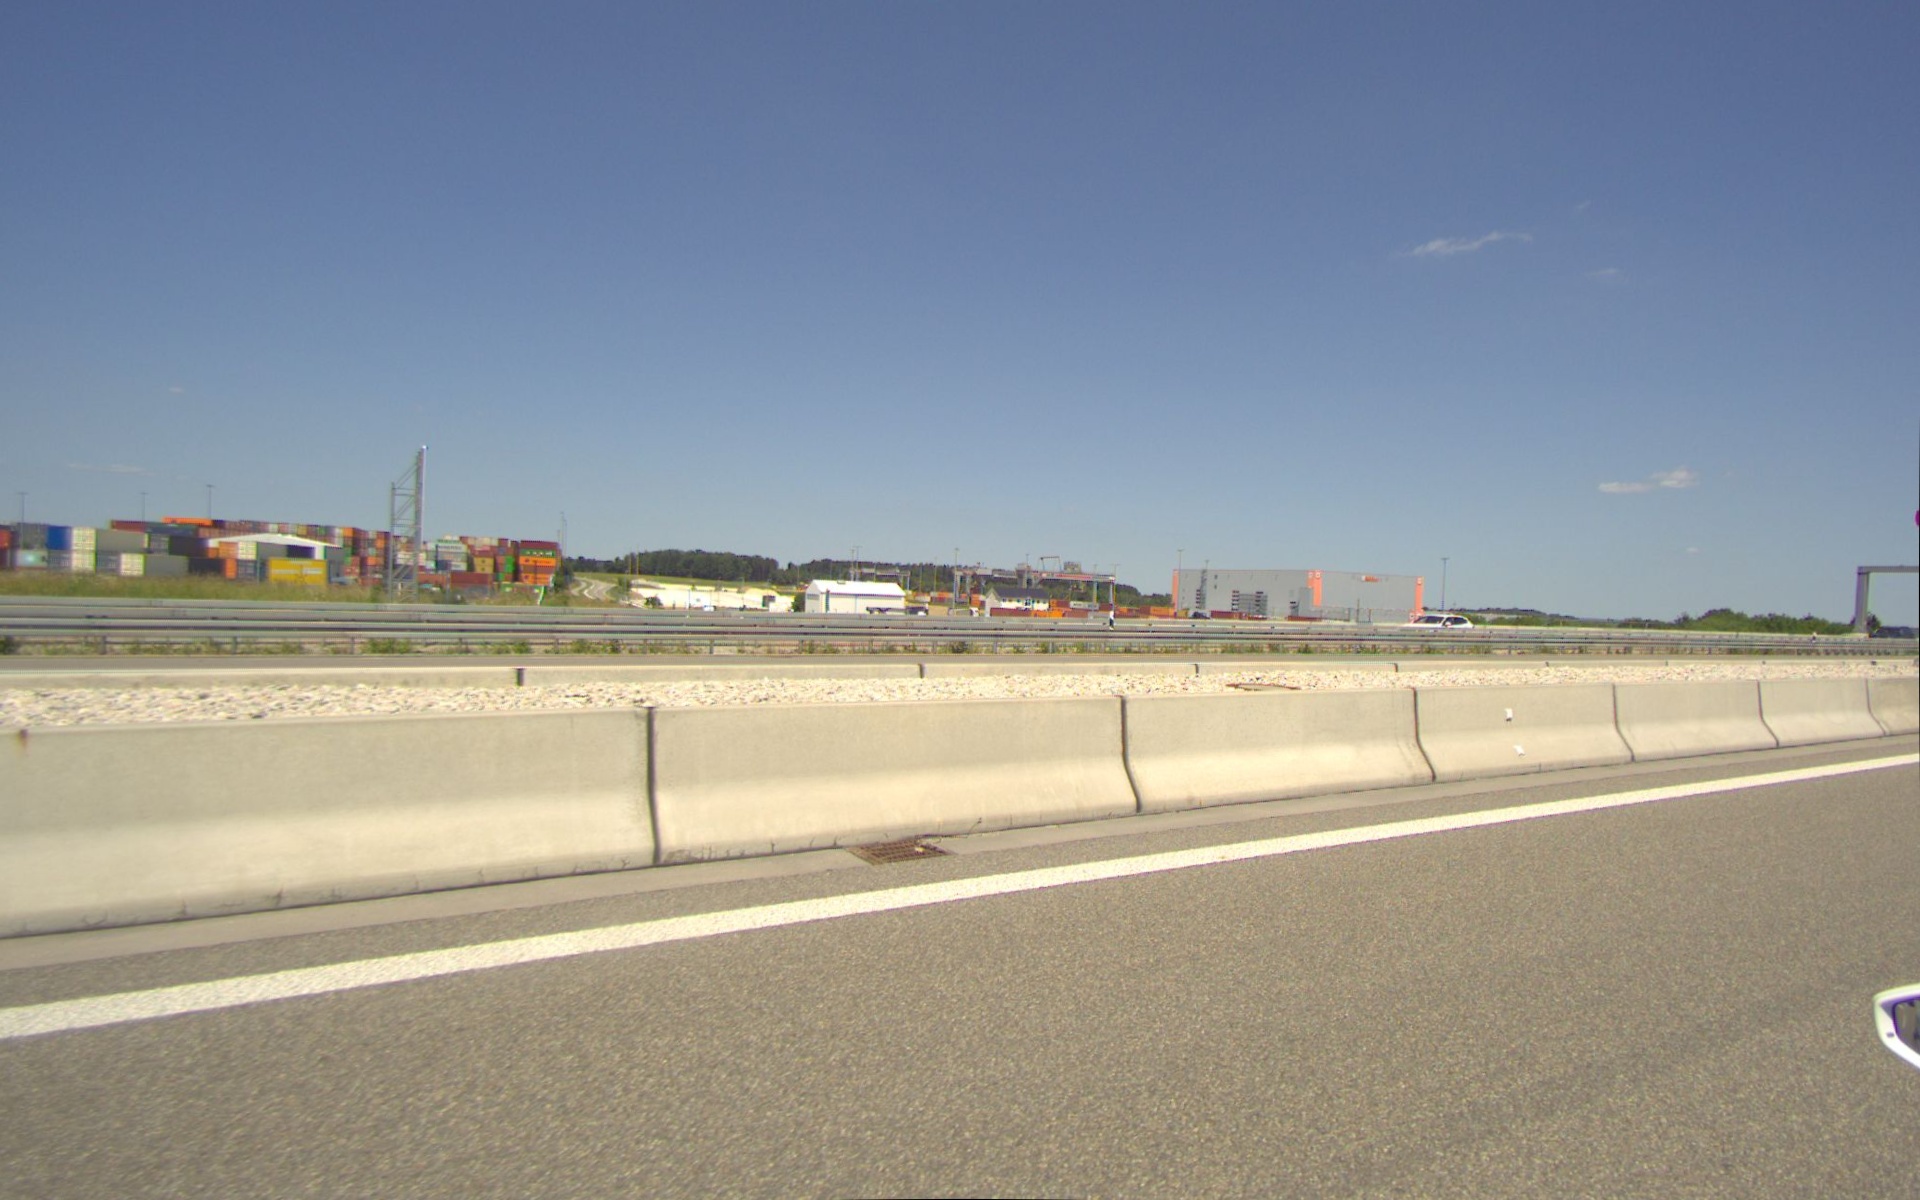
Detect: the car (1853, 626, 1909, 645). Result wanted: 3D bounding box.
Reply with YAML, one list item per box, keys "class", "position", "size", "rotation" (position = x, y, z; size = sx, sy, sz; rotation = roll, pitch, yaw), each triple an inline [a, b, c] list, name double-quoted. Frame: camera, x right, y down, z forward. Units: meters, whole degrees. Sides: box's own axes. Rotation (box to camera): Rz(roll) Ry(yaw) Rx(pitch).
- class: "car"
  position: [72.783, 2.808, 79.387]
  size: [4.309, 1.398, 1.985]
  rotation: [2, 0, -29]

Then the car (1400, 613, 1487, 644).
- class: "car"
  position: [22.797, 1.347, 47.355]
  size: [4.311, 1.398, 1.556]
  rotation: [2, 0, -31]
